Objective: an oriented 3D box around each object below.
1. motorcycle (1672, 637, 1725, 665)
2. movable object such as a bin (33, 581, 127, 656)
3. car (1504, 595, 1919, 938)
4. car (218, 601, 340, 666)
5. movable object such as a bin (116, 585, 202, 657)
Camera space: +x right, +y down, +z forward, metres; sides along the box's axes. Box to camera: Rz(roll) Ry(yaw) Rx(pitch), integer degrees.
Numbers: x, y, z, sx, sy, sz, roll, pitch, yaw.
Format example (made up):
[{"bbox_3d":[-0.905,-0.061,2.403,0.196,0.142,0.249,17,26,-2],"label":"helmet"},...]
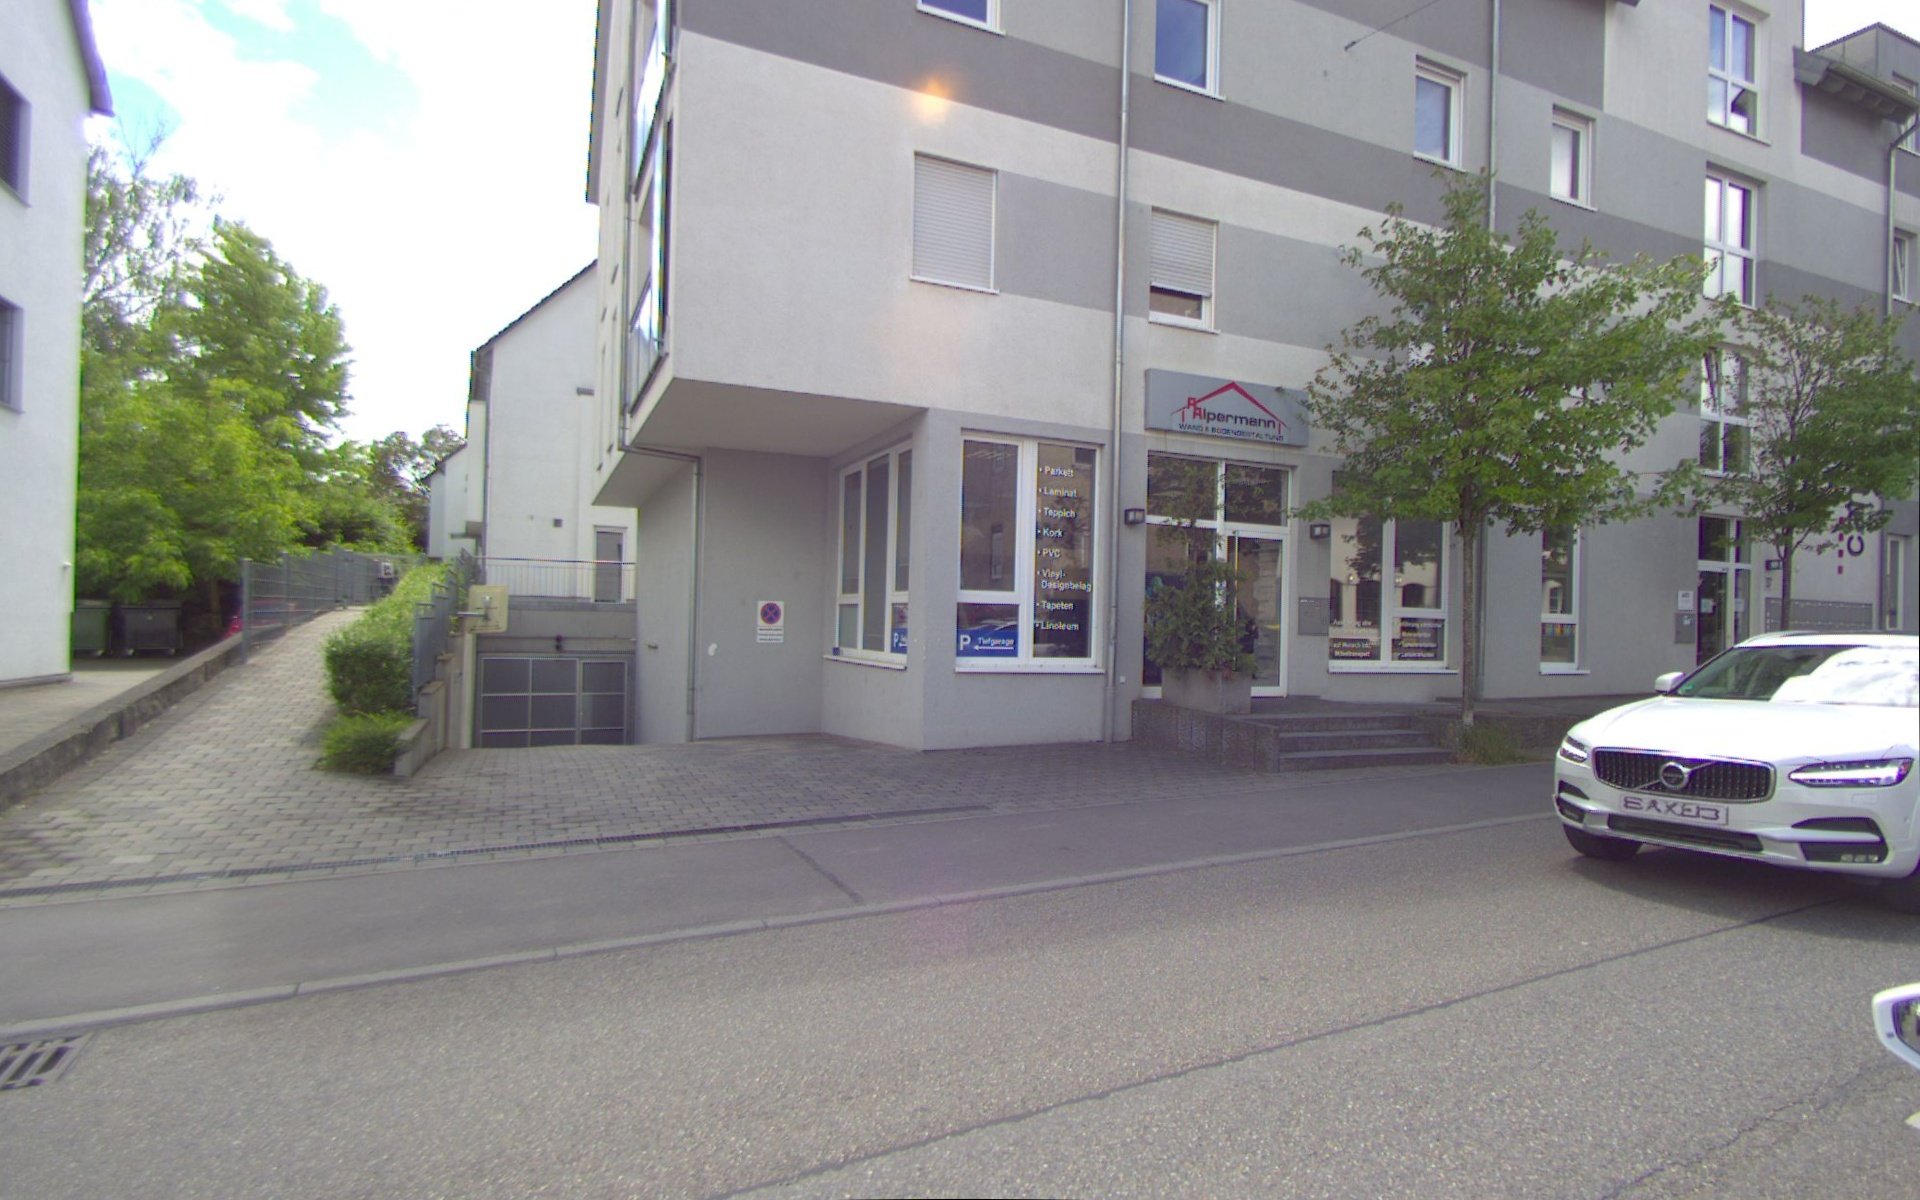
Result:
[{"bbox_3d":[29.165,1.991,39.657,2.320,1.018,1.191,1,0,-40],"label":"motorcycle"},{"bbox_3d":[-21.456,0.450,24.525,1.491,1.753,1.078,2,0,-30],"label":"movable object such as a bin"},{"bbox_3d":[5.942,0.860,6.650,4.743,1.580,1.889,1,-3,-30],"label":"car"},{"bbox_3d":[-16.973,0.796,25.224,1.695,1.461,3.978,2,0,-22],"label":"car"},{"bbox_3d":[-20.141,0.534,25.293,1.491,1.753,1.078,2,0,-30],"label":"movable object such as a bin"}]
